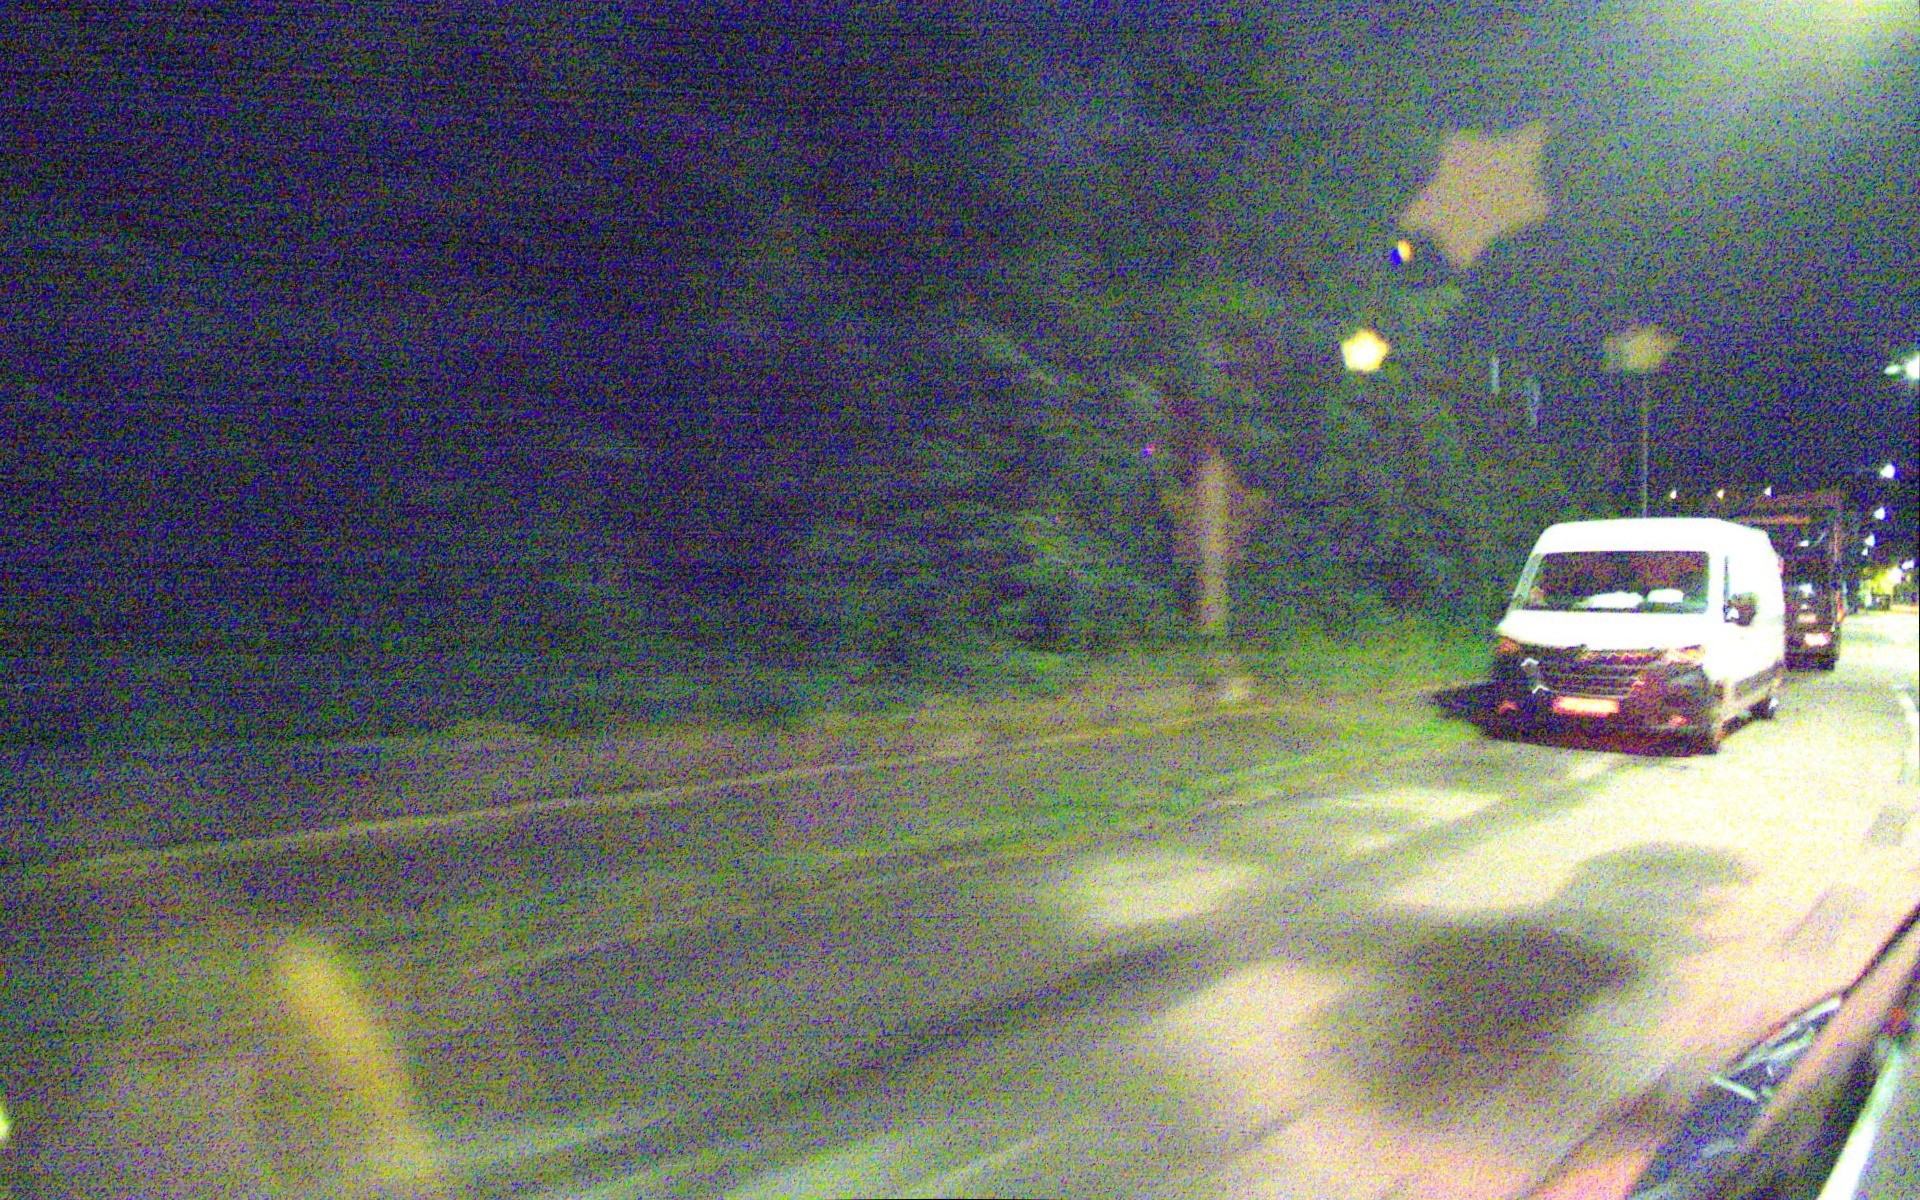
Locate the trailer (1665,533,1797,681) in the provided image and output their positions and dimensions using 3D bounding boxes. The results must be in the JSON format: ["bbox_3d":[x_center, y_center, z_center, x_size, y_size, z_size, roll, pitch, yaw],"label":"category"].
[{"bbox_3d":[14.918,0.116,19.467,1.631,2.505,4.951,0,0,42],"label":"trailer"}]

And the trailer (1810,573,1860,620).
[{"bbox_3d":[52.270,-0.209,60.453,1.994,2.685,3.935,0,0,45],"label":"trailer"}]

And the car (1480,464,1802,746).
[{"bbox_3d":[8.414,0.047,12.152,2.109,2.548,6.269,0,0,44],"label":"car"}]

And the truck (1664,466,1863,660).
[{"bbox_3d":[20.068,-0.803,25.024,3.322,3.917,9.187,0,0,42],"label":"truck"}]

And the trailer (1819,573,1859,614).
[{"bbox_3d":[75.011,-0.549,86.385,2.394,3.368,4.300,0,0,39],"label":"trailer"}]

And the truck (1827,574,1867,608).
[{"bbox_3d":[107.494,-1.046,122.590,12.446,3.886,2.511,0,0,-44],"label":"truck"}]
